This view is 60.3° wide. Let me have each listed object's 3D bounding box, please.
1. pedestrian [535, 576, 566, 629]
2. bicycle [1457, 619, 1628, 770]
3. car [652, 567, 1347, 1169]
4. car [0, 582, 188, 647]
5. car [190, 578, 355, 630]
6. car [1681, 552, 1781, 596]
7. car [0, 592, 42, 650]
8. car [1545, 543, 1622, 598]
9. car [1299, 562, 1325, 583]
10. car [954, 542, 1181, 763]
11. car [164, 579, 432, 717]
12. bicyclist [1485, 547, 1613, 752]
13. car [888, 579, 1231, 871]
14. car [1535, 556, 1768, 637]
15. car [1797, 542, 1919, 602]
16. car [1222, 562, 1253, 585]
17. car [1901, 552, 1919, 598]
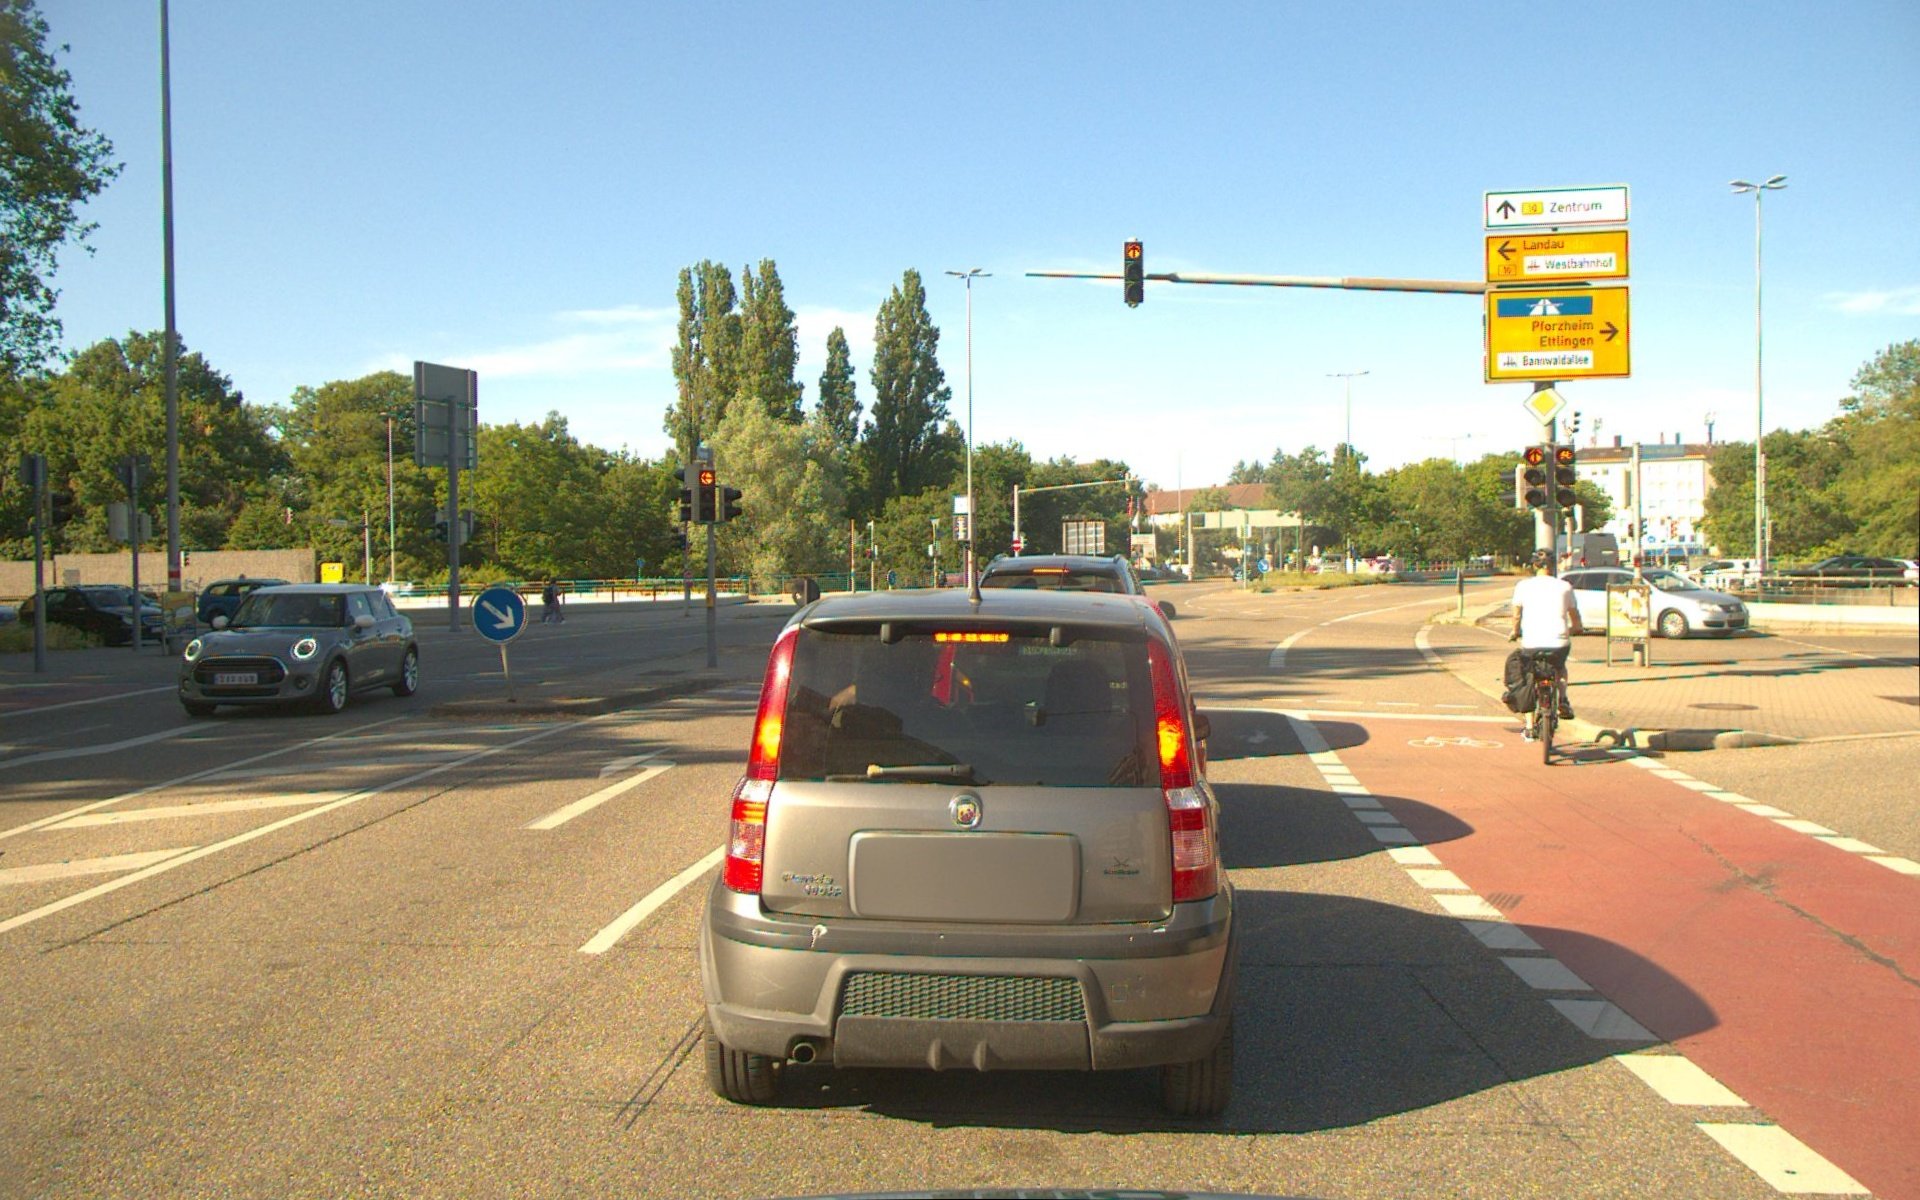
[{"bbox_3d":[-12.933,0.080,52.260,0.673,1.565,1.365,0,-5,-3],"label":"pedestrian"},{"bbox_3d":[5.195,0.784,14.642,0.786,1.130,2.393,1,2,36],"label":"bicycle"},{"bbox_3d":[0.194,0.669,6.339,1.782,1.515,4.002,2,1,3],"label":"car"},{"bbox_3d":[-21.009,0.353,39.900,4.345,1.464,1.826,-1,1,22],"label":"car"},{"bbox_3d":[-20.702,0.111,49.838,4.342,1.464,1.828,-1,1,14],"label":"car"},{"bbox_3d":[34.590,-1.126,74.302,1.960,1.781,3.983,1,-2,-15],"label":"car"},{"bbox_3d":[-26.405,0.562,43.247,4.345,1.464,1.826,-1,1,22],"label":"car"},{"bbox_3d":[32.615,-1.512,86.693,2.208,2.653,4.886,0,-1,0],"label":"car"},{"bbox_3d":[35.550,-2.760,167.066,1.971,1.887,4.887,0,-2,20],"label":"car"},{"bbox_3d":[1.182,0.391,16.090,1.829,1.821,4.418,1,1,8],"label":"car"},{"bbox_3d":[-7.798,0.495,19.878,1.651,1.482,3.913,-1,1,0],"label":"car"},{"bbox_3d":[5.236,0.403,14.685,0.786,1.734,1.081,1,2,36],"label":"bicyclist"},{"bbox_3d":[0.595,0.639,10.702,1.782,1.505,4.001,1,0,2],"label":"car"},{"bbox_3d":[14.369,-0.128,34.608,1.735,1.519,4.299,-1,2,-33],"label":"car"},{"bbox_3d":[33.206,-0.999,60.926,3.922,2.049,1.991,-1,-2,38],"label":"car"},{"bbox_3d":[25.493,-2.433,151.745,1.971,1.887,4.430,0,-2,21],"label":"car"},{"bbox_3d":[39.761,-1.033,65.494,1.982,1.781,3.941,2,-2,-41],"label":"car"}]
